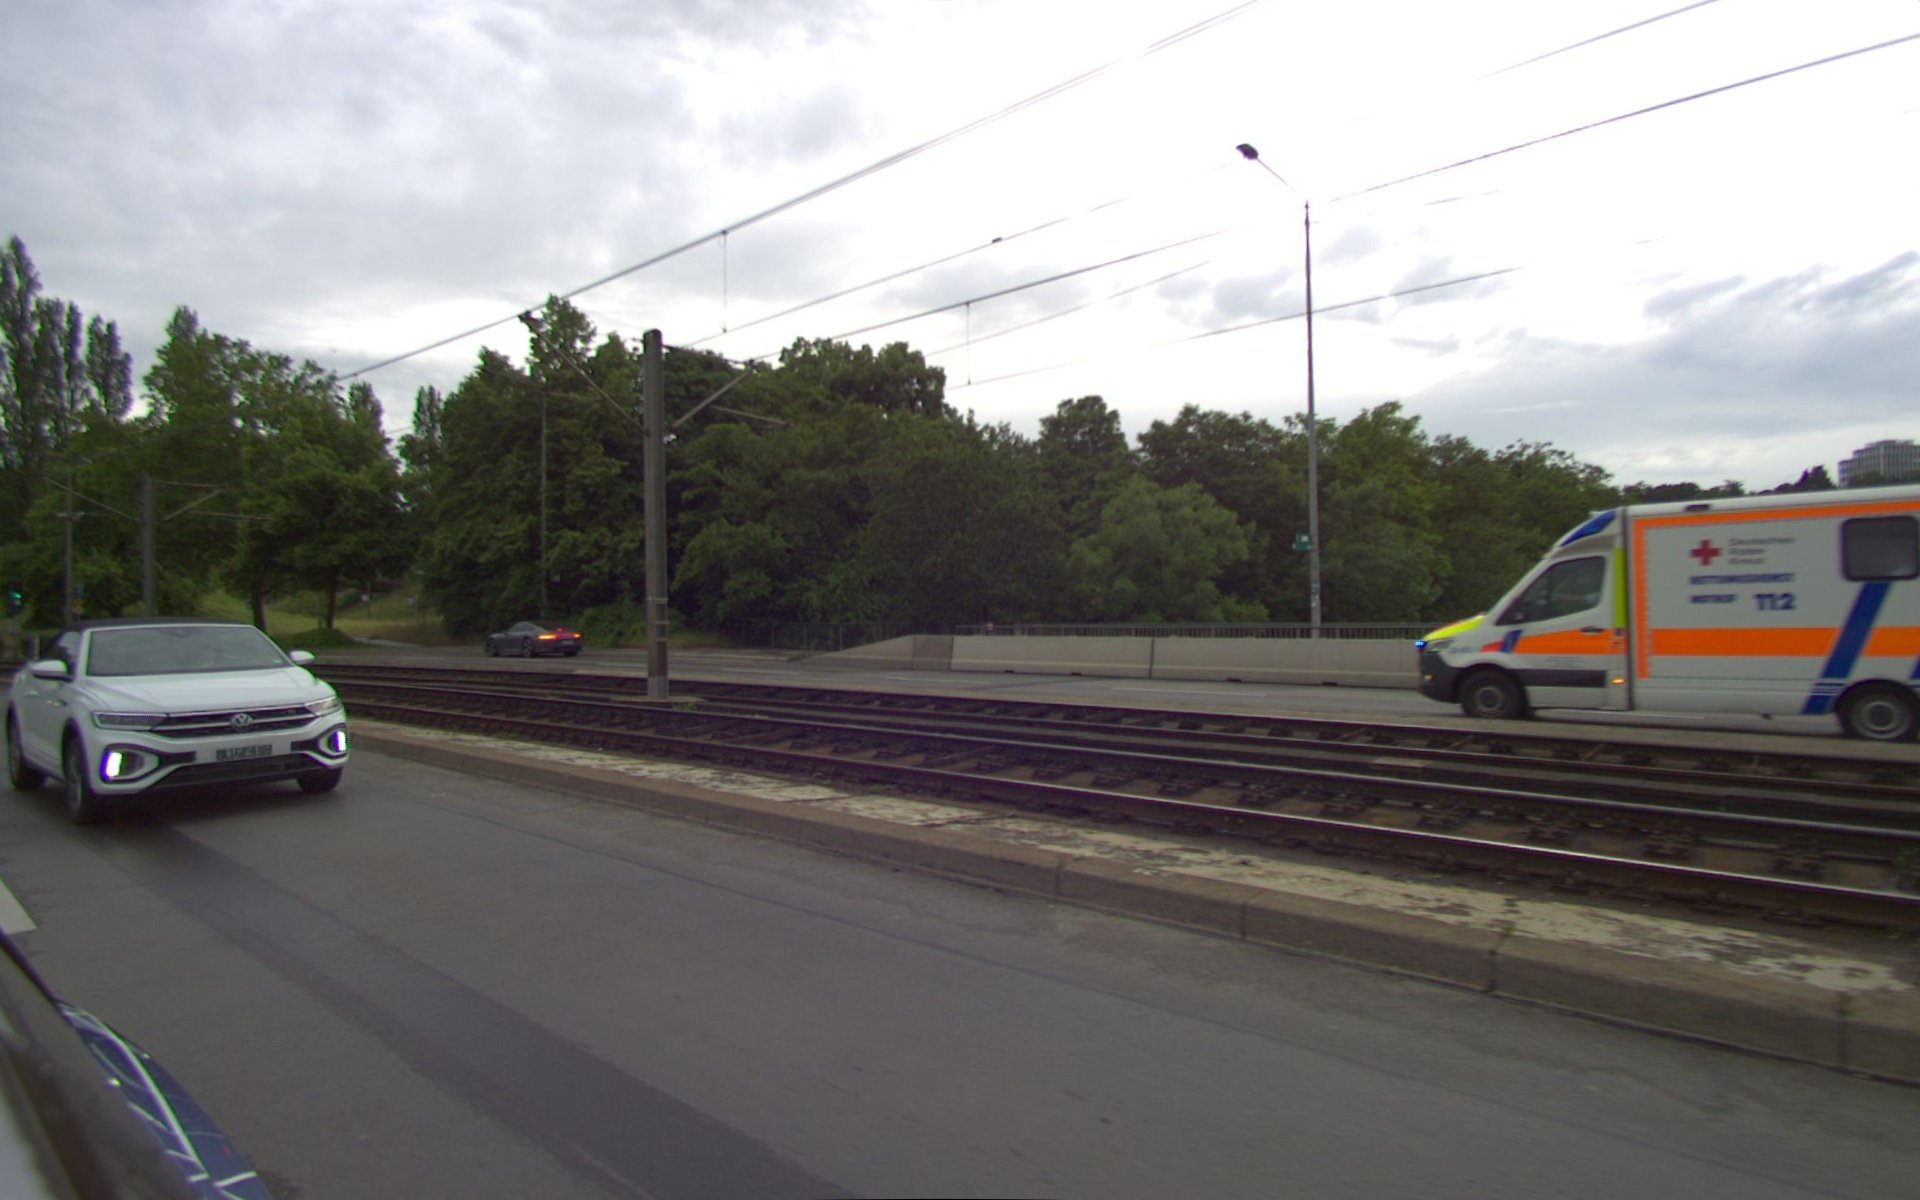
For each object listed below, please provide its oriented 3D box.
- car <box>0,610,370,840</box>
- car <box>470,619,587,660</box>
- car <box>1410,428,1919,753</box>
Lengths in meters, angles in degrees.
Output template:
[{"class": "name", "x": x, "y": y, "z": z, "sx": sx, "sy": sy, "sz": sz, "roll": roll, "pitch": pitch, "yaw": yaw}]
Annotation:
[{"class": "car", "x": -7.140, "y": 0.896, "z": 9.032, "sx": 4.537, "sy": 1.535, "sz": 1.852, "roll": -1, "pitch": -1, "yaw": 40}, {"class": "car", "x": -15.615, "y": 1.435, "z": 36.560, "sx": 4.611, "sy": 1.324, "sz": 1.820, "roll": -2, "pitch": 0, "yaw": 37}, {"class": "car", "x": 8.888, "y": -0.083, "z": 11.653, "sx": 6.353, "sy": 3.139, "sz": 2.365, "roll": -1, "pitch": 0, "yaw": 41}]
